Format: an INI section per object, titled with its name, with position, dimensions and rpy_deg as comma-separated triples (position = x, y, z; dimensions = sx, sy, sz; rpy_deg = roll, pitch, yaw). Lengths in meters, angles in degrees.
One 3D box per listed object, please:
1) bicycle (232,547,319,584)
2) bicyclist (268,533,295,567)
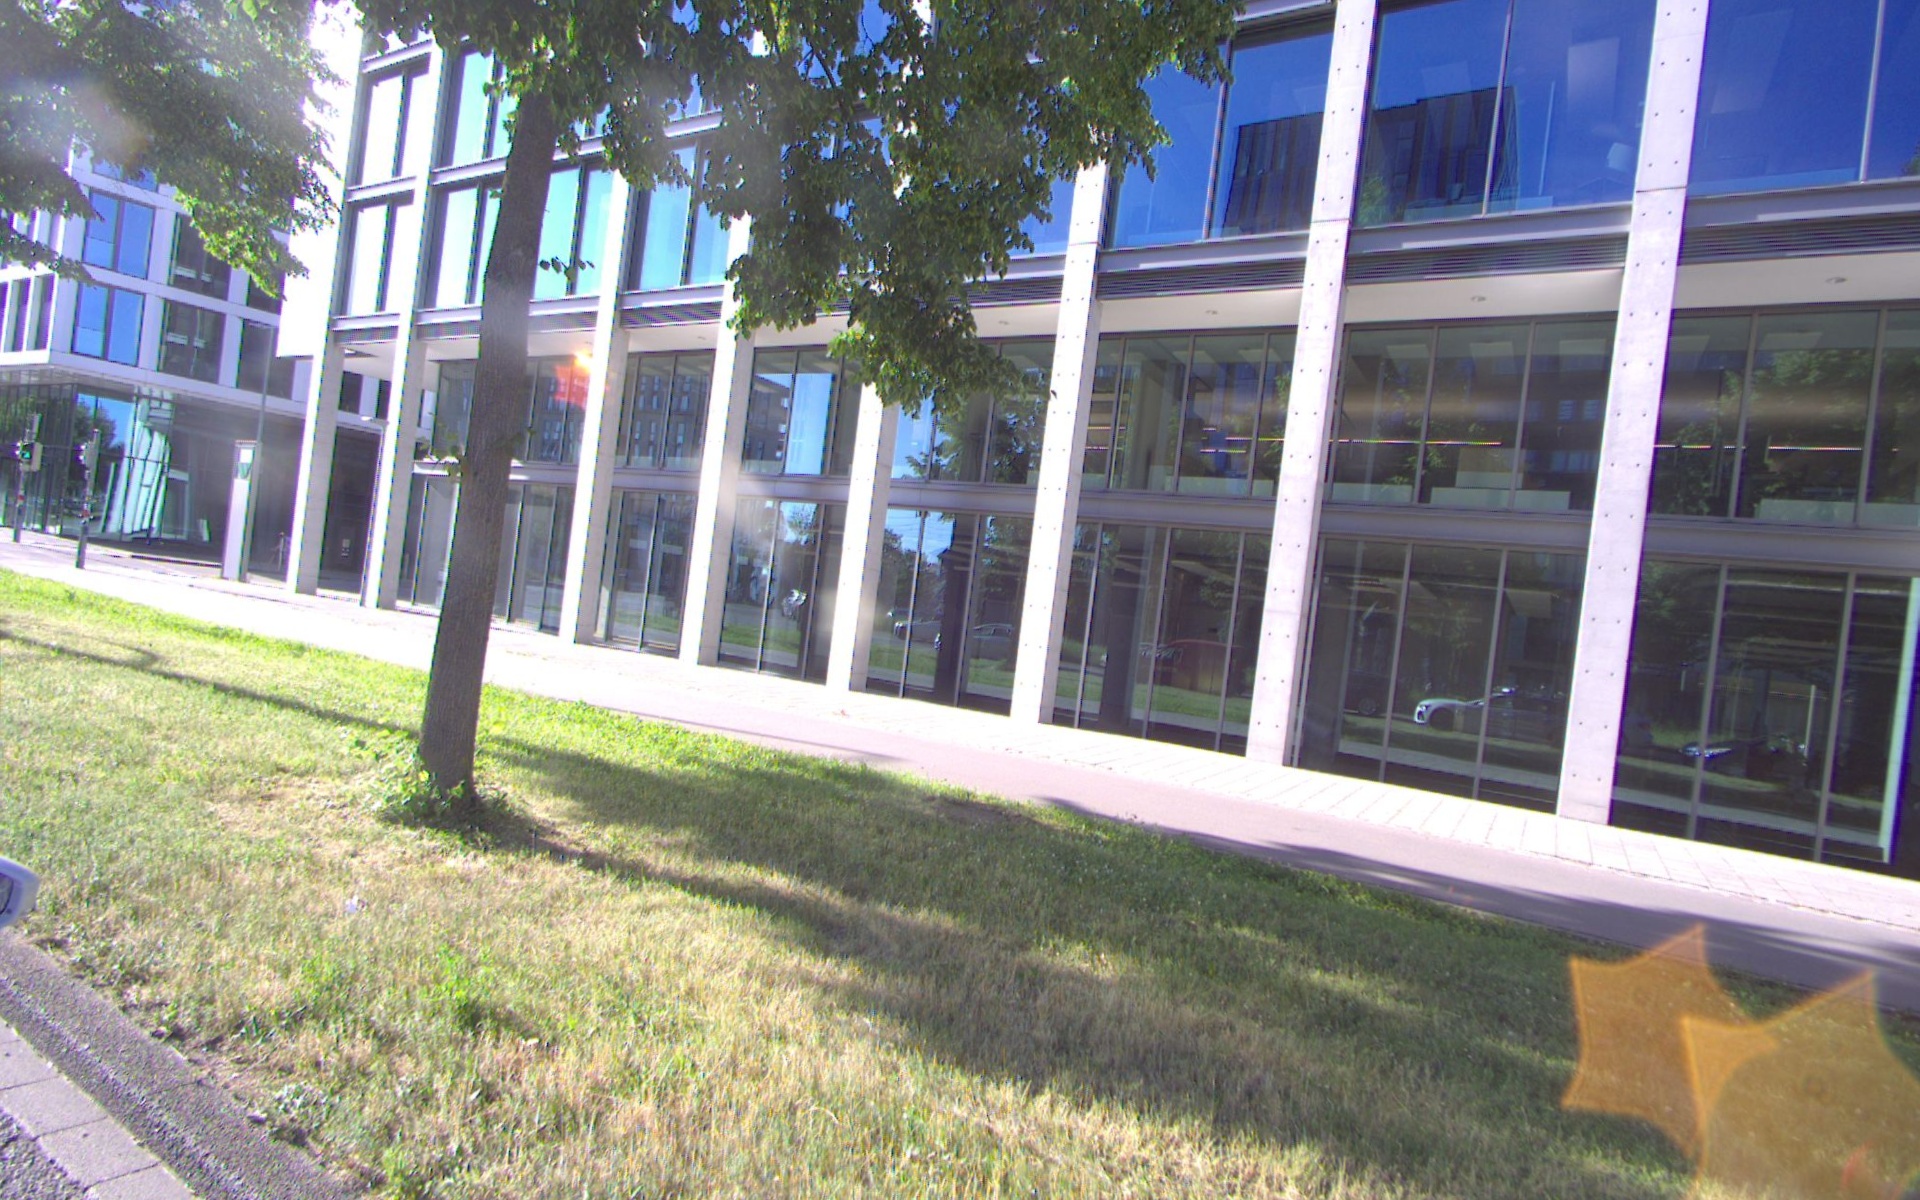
[bicycle]
position = -28.306, -1.425, 41.646
dimensions = 2.829, 1.128, 0.810
rpy_deg = 8, -1, -44
[bicyclist]
position = -28.135, -2.087, 41.730
dimensions = 0.679, 1.290, 0.810
rpy_deg = 7, 0, -44
